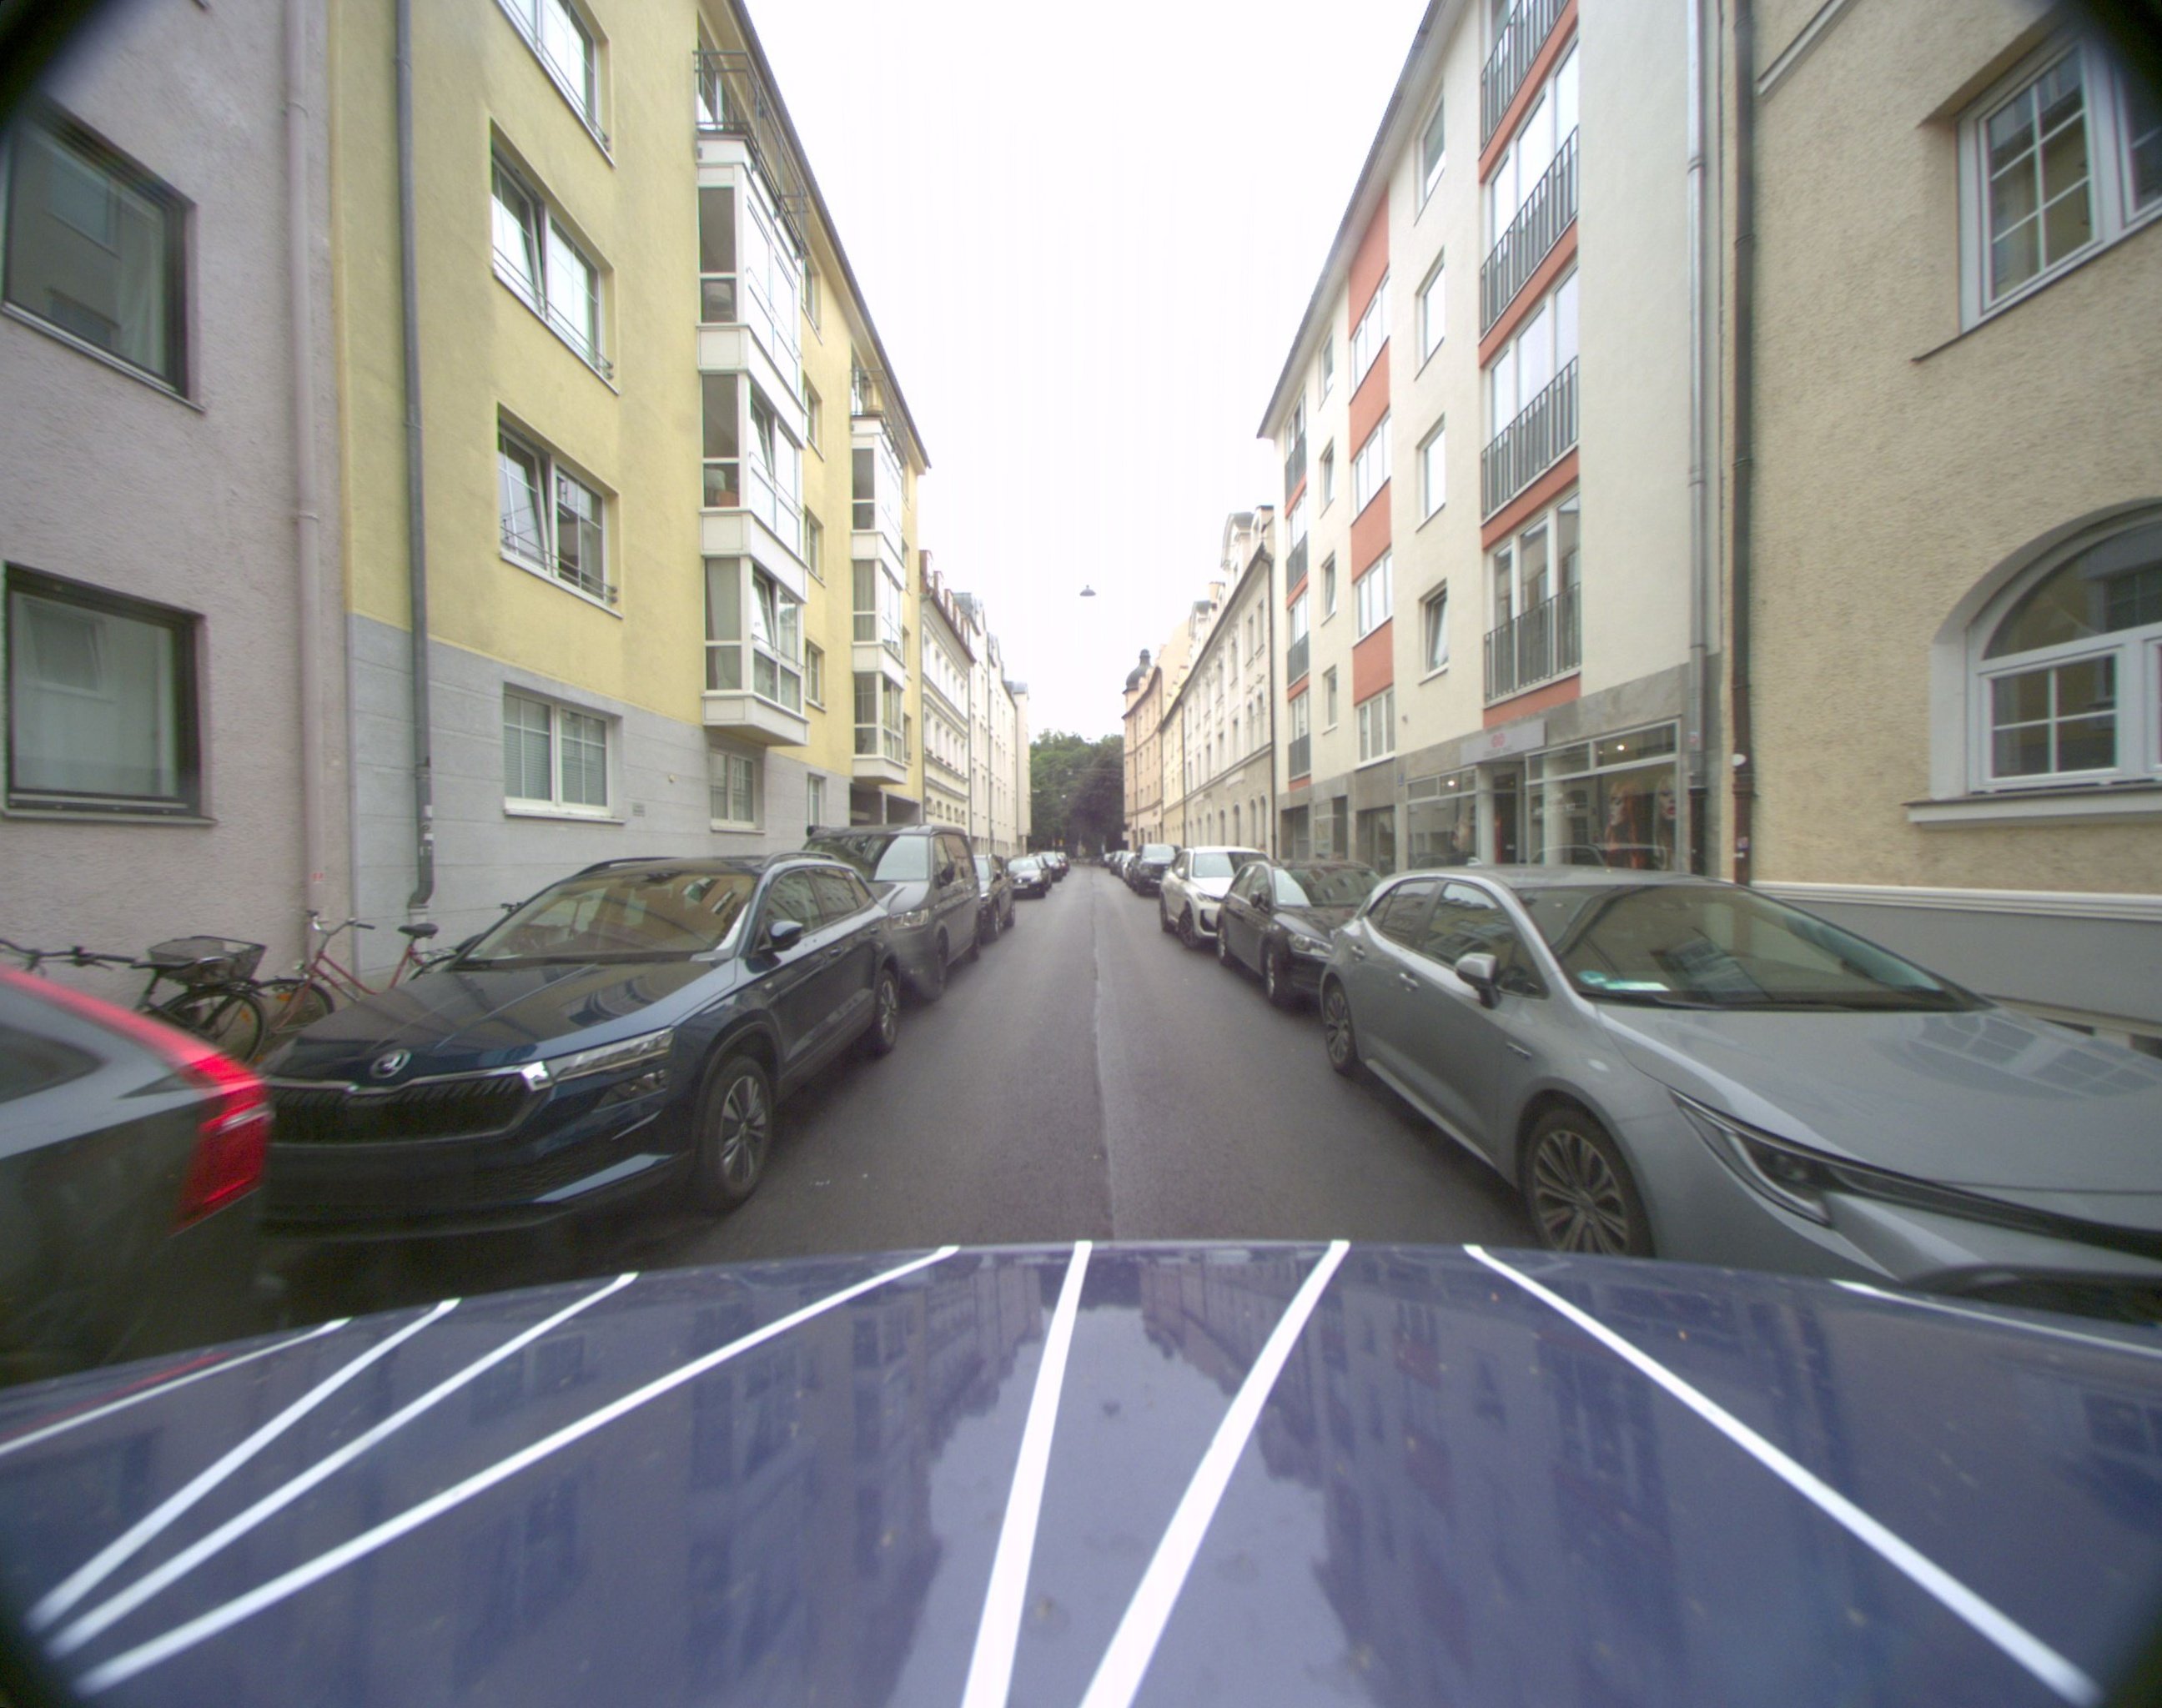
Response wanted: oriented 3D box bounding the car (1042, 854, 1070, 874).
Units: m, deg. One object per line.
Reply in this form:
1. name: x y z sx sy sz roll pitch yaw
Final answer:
1. car: -1.701 0.659 53.004 1.739 1.297 3.685 -2 1 0

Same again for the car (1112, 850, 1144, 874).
1. car: 3.093 0.479 50.784 1.951 1.470 3.979 1 1 1

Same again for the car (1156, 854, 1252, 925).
1. car: 2.798 0.754 18.113 1.632 1.467 4.029 1 0 0

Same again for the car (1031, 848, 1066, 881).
1. car: -1.792 0.546 42.747 1.739 1.743 3.685 -2 1 0

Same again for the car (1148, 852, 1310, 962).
1. car: 2.378 0.779 13.334 1.786 1.596 4.307 1 0 -3

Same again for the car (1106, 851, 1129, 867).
1. car: 3.417 0.436 71.989 1.951 1.470 3.979 1 1 1

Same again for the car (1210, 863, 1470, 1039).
1. car: 2.606 0.883 8.626 1.632 1.467 3.841 1 0 0

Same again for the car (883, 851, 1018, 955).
1. car: -2.396 0.829 15.078 1.837 1.676 4.228 -2 1 1

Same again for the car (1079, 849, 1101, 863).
1. car: 1.005 0.228 85.782 1.800 1.501 3.995 1 1 -10

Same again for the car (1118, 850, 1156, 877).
1. car: 3.281 0.523 45.078 1.951 1.470 3.715 1 1 1

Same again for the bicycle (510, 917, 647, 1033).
1. bicycle: -5.180 1.209 7.929 0.422 0.970 1.446 -1 0 1

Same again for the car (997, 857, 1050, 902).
1. car: -2.123 0.872 28.199 1.750 1.433 4.226 -2 1 -4

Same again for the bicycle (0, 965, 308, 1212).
1. bicycle: -5.248 1.196 4.127 0.442 0.942 1.576 -1 0 1

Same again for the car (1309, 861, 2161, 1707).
1. car: 2.464 0.854 3.428 1.676 1.467 4.111 1 2 1

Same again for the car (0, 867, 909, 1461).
1. car: -2.440 0.972 4.439 1.837 1.612 4.323 -2 1 0

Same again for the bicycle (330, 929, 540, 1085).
1. bicycle: -5.157 1.173 6.184 0.422 0.970 1.446 -1 0 1

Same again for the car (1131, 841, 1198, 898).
1. car: 2.971 0.496 27.980 1.951 1.850 4.908 1 1 1

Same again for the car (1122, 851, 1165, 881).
1. car: 3.217 0.588 39.893 1.951 1.470 3.715 1 1 1

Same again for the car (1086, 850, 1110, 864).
1. car: 1.772 0.304 81.587 1.800 1.501 3.995 1 1 -10

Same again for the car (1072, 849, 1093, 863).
1. car: 0.169 0.193 89.883 1.800 1.501 3.995 1 1 -10

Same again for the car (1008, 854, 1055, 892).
1. car: -2.070 0.781 32.523 1.739 1.433 3.685 -2 1 0

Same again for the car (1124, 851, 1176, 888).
1. car: 2.999 0.644 33.615 1.951 1.470 3.715 1 1 1

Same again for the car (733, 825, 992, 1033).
1. car: -2.446 0.689 10.041 1.878 2.002 5.105 -2 1 0
